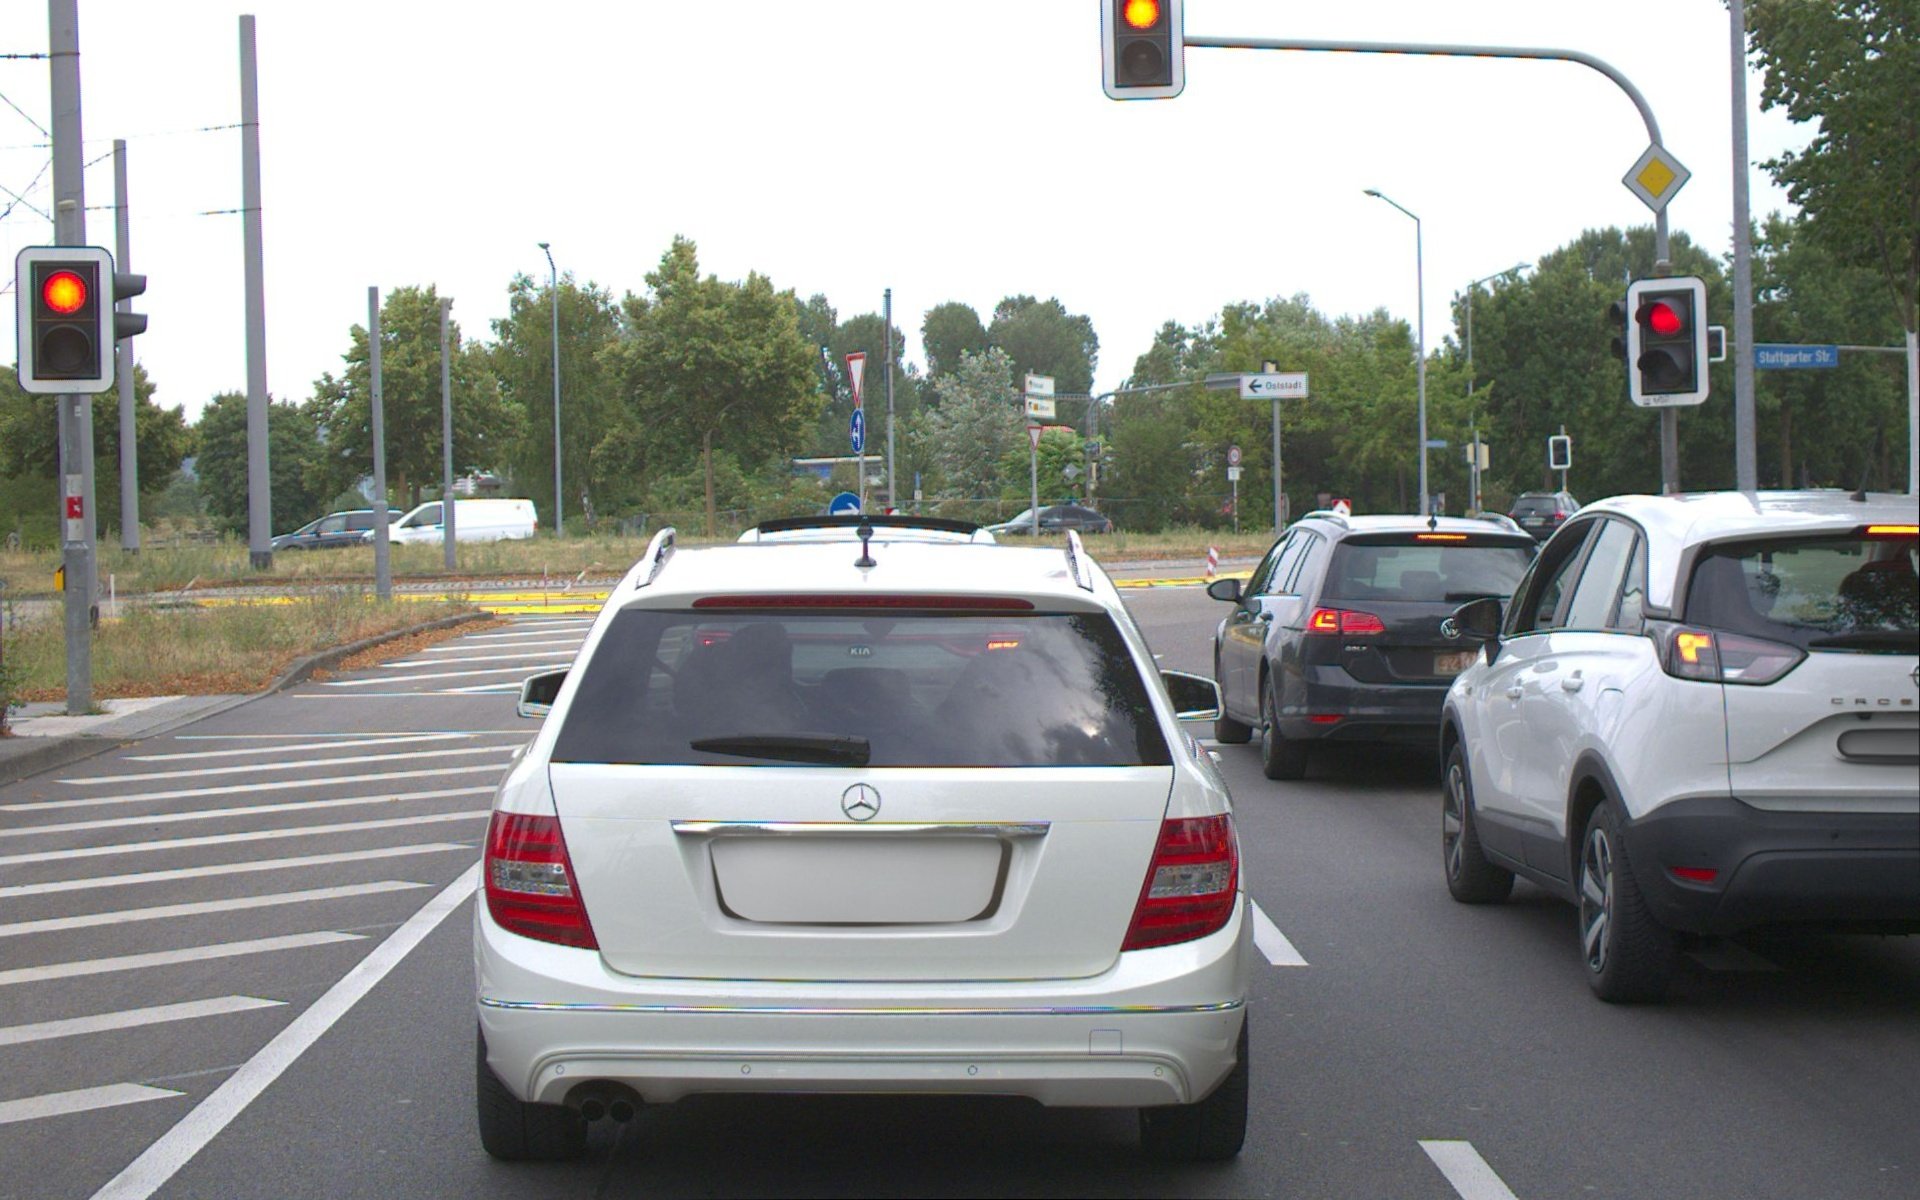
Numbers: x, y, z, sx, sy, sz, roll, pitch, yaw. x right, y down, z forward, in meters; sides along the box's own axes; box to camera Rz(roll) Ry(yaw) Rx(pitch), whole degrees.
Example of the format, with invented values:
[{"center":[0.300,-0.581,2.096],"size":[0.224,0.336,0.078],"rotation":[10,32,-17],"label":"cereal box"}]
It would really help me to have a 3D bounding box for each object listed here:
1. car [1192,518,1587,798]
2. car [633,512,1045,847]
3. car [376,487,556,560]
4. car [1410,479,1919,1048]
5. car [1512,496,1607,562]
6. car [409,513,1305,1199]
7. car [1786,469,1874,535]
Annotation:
[{"center":[2.371,0.257,19.857],"size":[1.624,1.443,3.911],"rotation":[0,1,-2],"label":"car"},{"center":[-0.606,0.296,16.868],"size":[1.773,1.443,3.911],"rotation":[0,1,-2],"label":"car"},{"center":[-14.247,-2.228,99.142],"size":[4.982,2.006,2.001],"rotation":[-1,2,-12],"label":"car"},{"center":[2.723,0.411,11.823],"size":[1.787,1.619,3.911],"rotation":[-1,1,0],"label":"car"},{"center":[16.801,-1.972,96.215],"size":[1.995,1.784,3.996],"rotation":[2,1,19],"label":"car"},{"center":[-0.286,0.507,8.797],"size":[1.773,1.443,3.911],"rotation":[0,1,-2],"label":"car"},{"center":[22.220,-2.519,87.921],"size":[1.784,1.630,4.401],"rotation":[0,2,9],"label":"car"}]
